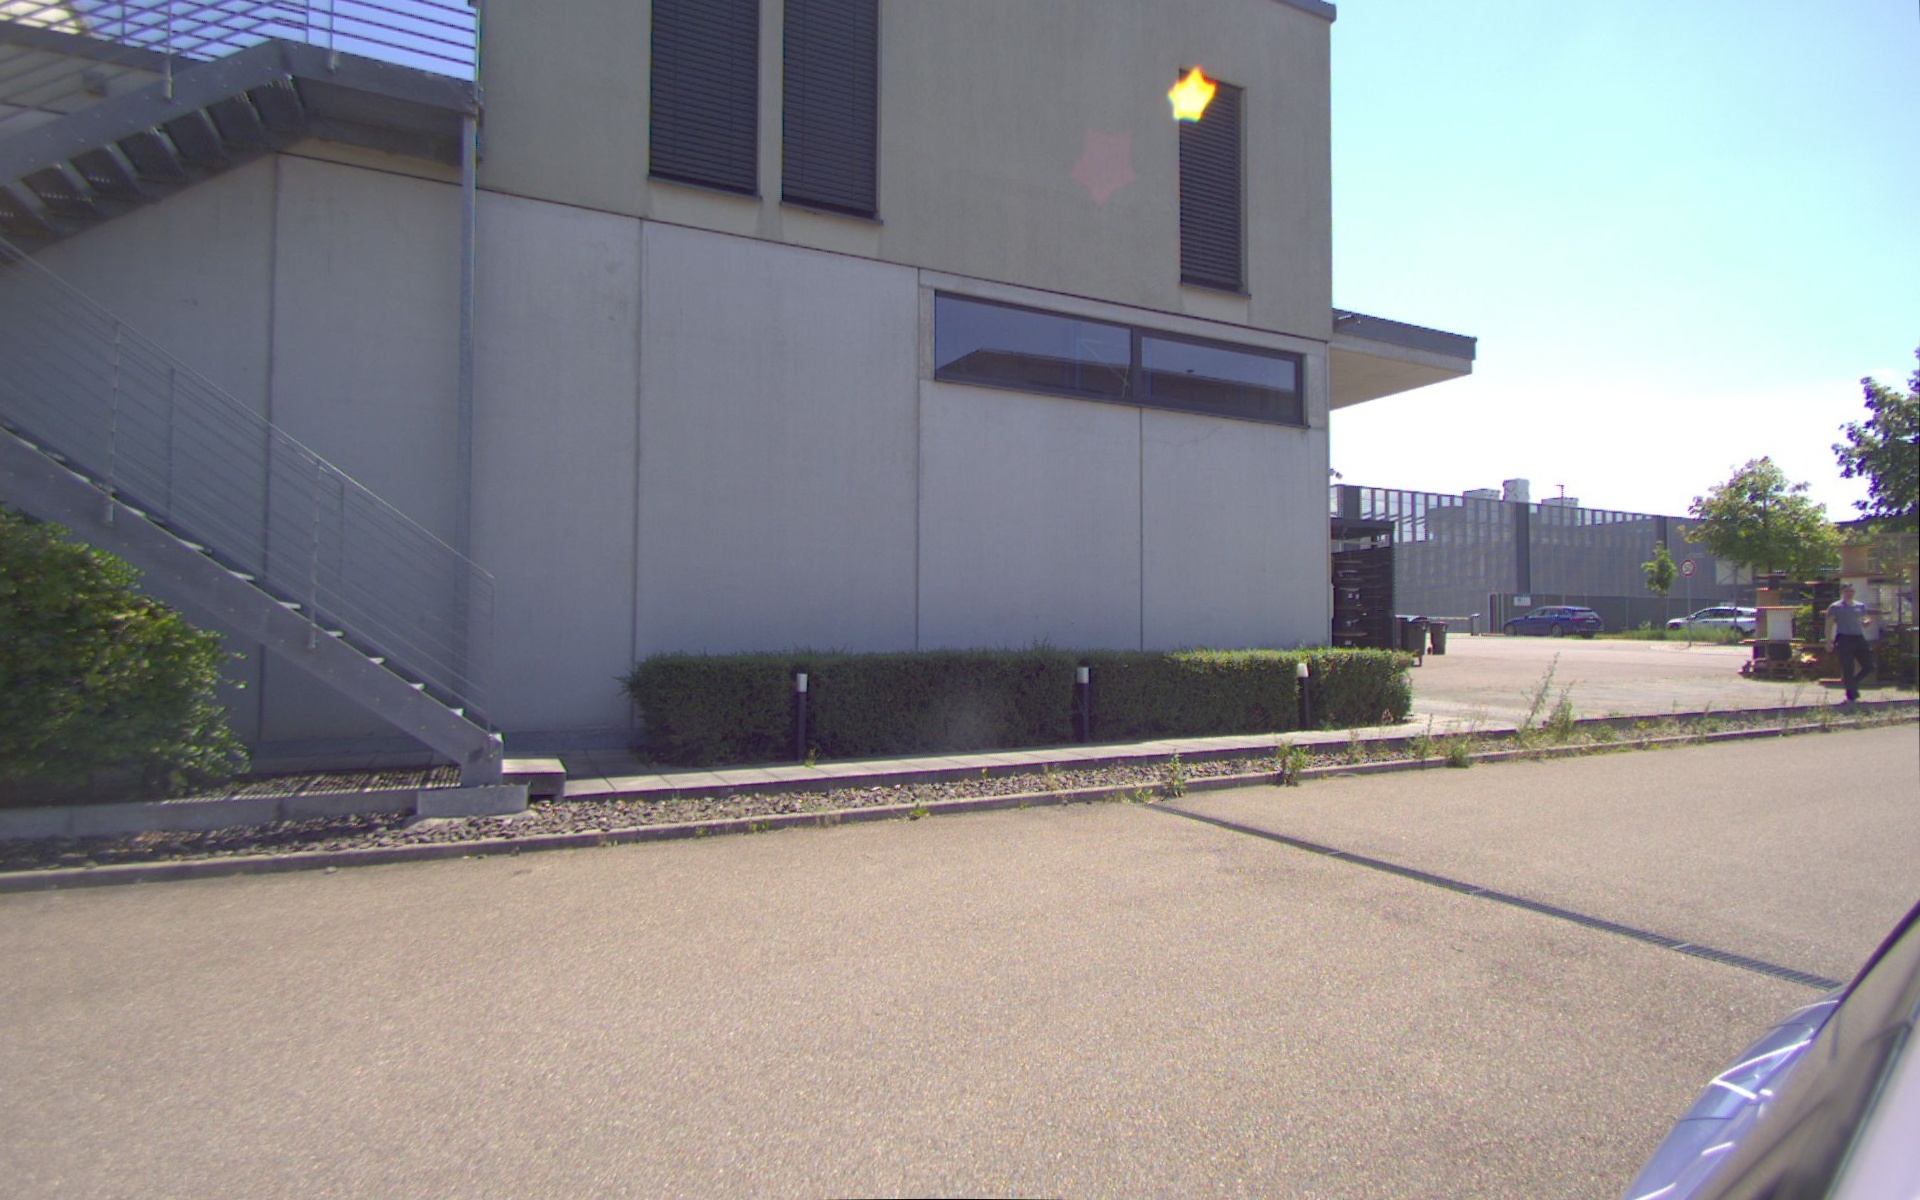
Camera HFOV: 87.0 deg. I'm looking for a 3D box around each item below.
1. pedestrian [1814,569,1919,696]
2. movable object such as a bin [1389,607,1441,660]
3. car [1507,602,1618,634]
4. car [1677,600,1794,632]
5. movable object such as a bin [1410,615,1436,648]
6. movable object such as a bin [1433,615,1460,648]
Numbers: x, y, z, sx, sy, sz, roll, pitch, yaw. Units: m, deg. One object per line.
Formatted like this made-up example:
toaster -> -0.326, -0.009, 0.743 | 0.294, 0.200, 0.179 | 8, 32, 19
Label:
pedestrian -> 13.189, 0.466, 14.748 | 0.794, 1.791, 0.768 | -1, -1, 4
movable object such as a bin -> 11.293, 0.822, 25.150 | 0.785, 1.265, 0.878 | -1, 0, -18
car -> 27.819, 0.803, 46.885 | 1.820, 1.428, 4.454 | 0, -1, -13
car -> 37.306, 0.756, 48.847 | 1.744, 1.494, 4.422 | 0, 0, -10
movable object such as a bin -> 13.440, 0.912, 29.372 | 0.582, 0.929, 0.540 | -1, 0, 39
movable object such as a bin -> 13.925, 0.897, 28.994 | 0.582, 0.929, 0.540 | -1, 0, 39
